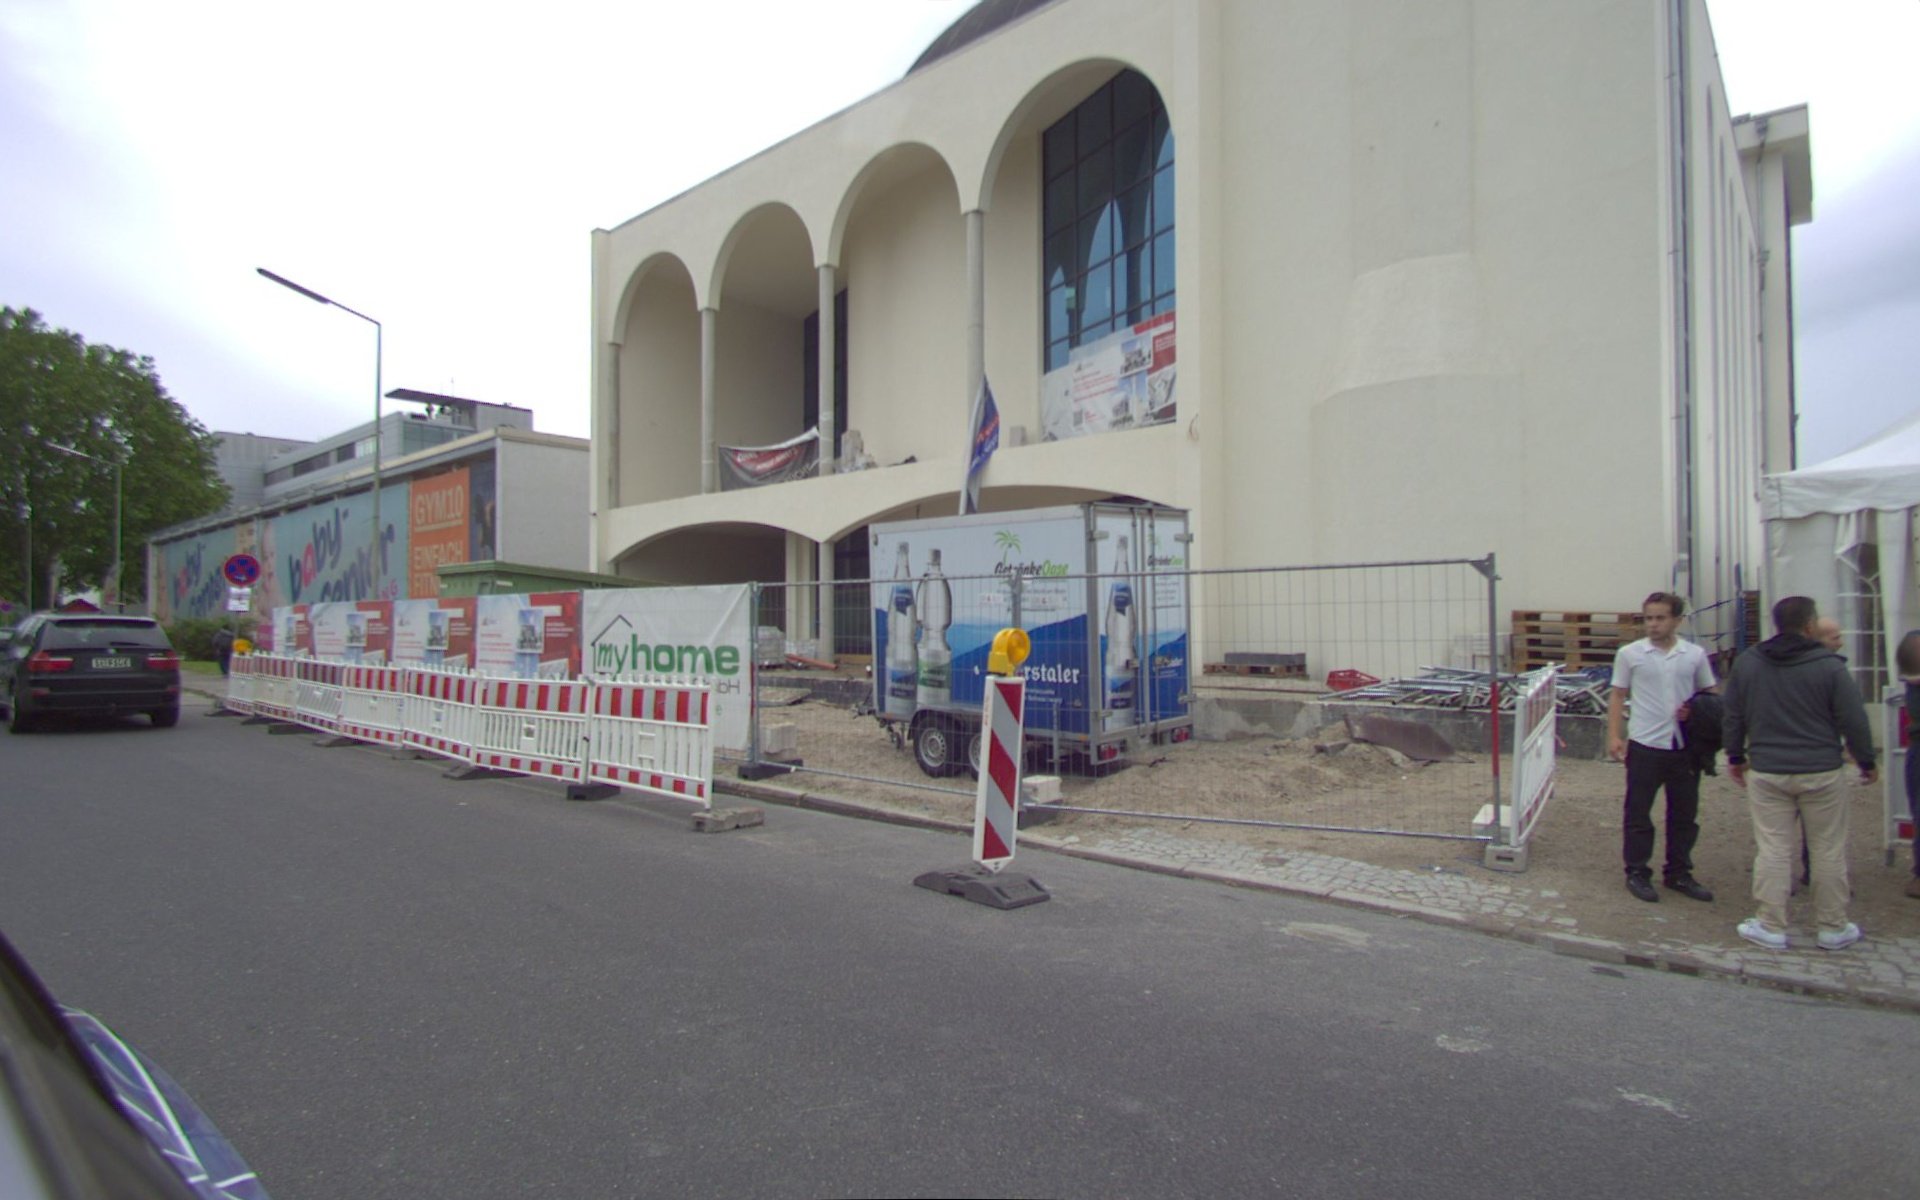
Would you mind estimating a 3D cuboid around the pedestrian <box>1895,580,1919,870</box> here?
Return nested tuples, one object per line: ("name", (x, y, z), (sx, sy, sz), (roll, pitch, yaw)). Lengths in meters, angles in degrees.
("pedestrian", (5.582, 0.697, 5.518), (0.486, 1.624, 0.538), (-1, 0, 14))

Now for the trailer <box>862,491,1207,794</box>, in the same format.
("trailer", (0.688, 0.419, 10.541), (3.192, 2.627, 1.777), (-2, -3, 45))

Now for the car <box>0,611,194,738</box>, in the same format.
("car", (-13.679, 1.088, 15.705), (4.652, 1.674, 1.938), (-2, -4, 42))

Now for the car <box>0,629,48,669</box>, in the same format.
("car", (-40.195, 2.055, 42.809), (4.149, 1.586, 1.903), (-2, -5, 43))

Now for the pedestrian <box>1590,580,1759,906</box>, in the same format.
("pedestrian", (4.168, 0.783, 5.917), (0.483, 1.762, 0.692), (1, -2, -42))

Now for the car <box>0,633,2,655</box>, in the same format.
("car", (-48.501, 2.346, 49.581), (4.149, 1.586, 1.903), (-2, -5, 43))

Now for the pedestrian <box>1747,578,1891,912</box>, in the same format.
("pedestrian", (4.847, 0.772, 5.712), (0.483, 1.762, 0.529), (1, -2, -43))

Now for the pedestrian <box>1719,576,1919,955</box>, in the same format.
("pedestrian", (4.372, 0.782, 5.159), (0.483, 1.762, 0.692), (1, -2, -42))

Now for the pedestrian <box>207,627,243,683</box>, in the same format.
("pedestrian", (-21.704, 1.607, 29.878), (0.782, 1.591, 0.603), (-1, 0, -42))

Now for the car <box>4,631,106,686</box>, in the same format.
("car", (-28.485, 1.828, 31.821), (4.149, 1.586, 1.903), (-2, -5, 43))
